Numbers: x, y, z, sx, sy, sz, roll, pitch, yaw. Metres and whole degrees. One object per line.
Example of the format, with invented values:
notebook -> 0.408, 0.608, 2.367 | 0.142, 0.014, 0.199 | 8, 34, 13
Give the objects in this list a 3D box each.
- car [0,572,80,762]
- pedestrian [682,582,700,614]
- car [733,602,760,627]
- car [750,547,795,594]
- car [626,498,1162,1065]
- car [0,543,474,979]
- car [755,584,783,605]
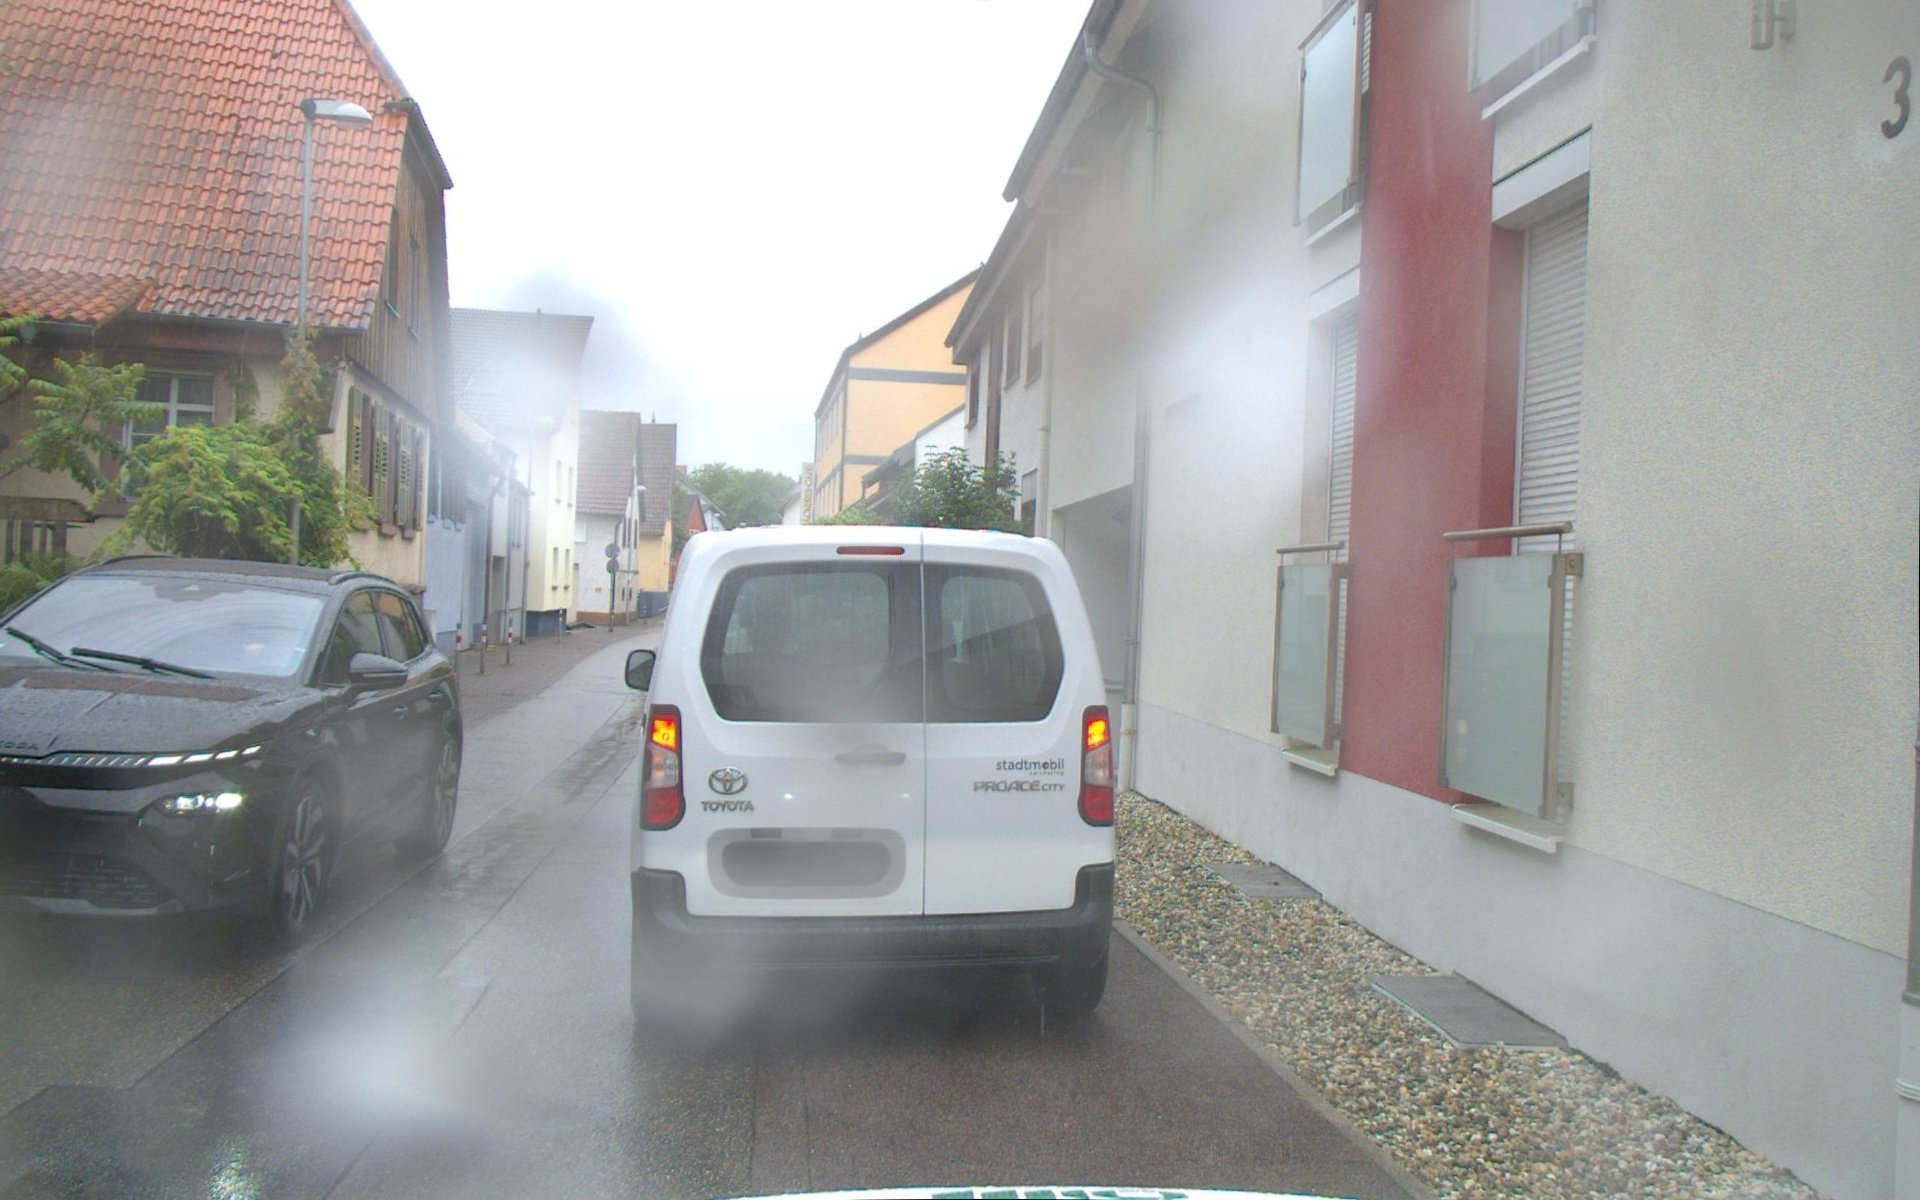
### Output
car -> -9.395, 0.316, 12.953 | 3.908, 1.450, 1.735 | 7, -1, -1
pedestrian -> -16.563, -0.104, 101.783 | 1.031, 1.926, 0.875 | 1, -1, -9
car -> -13.565, 0.922, 104.956 | 1.532, 1.503, 3.990 | 1, 0, -10
car -> -8.604, -1.317, 76.250 | 1.955, 2.049, 3.995 | 1, 0, -6
car -> -0.501, 0.597, 7.407 | 1.742, 1.811, 3.991 | 1, 0, -9
car -> -3.732, 0.584, 8.165 | 1.797, 1.583, 4.233 | 2, 0, -7
car -> -13.456, -0.370, 116.349 | 1.747, 1.419, 3.990 | 1, 0, -10
